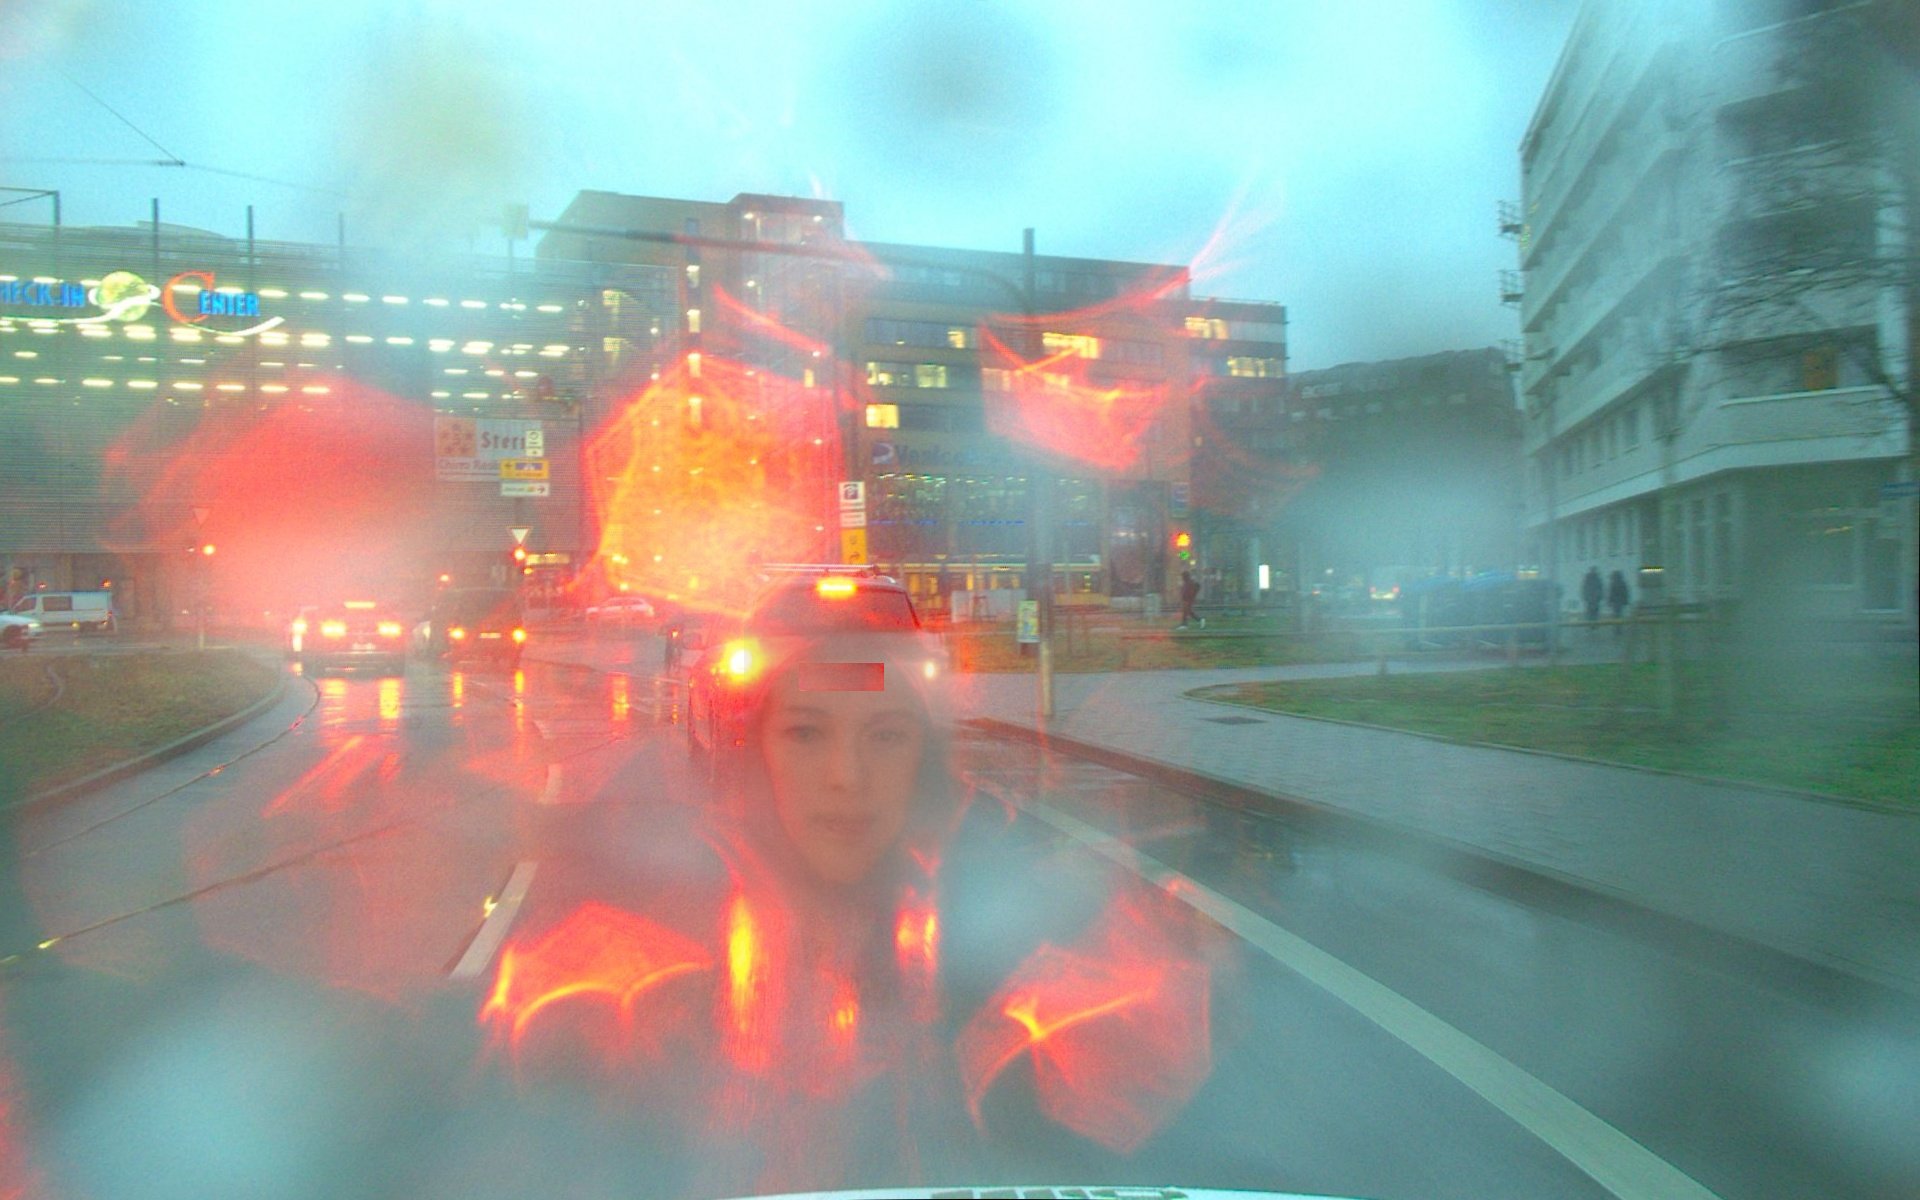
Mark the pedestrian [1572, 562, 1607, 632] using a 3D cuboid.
[{"bbox_3d":[15.815,-0.075,41.568,0.661,1.744,0.606,1,-1,8],"label":"pedestrian"}]

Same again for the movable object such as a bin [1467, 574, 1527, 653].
[{"bbox_3d":[10.651,0.267,32.801,1.013,1.516,1.040,1,-1,24],"label":"movable object such as a bin"}]

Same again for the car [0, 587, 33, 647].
[{"bbox_3d":[-34.649,0.536,57.311,4.308,2.049,1.980,2,-1,-30],"label":"car"}]

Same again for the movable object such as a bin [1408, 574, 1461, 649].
[{"bbox_3d":[9.844,0.223,34.363,1.006,1.521,1.330,-1,0,15],"label":"movable object such as a bin"}]

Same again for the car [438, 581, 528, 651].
[{"bbox_3d":[-12.249,0.412,42.324,1.616,1.727,3.639,0,-1,-26],"label":"car"}]

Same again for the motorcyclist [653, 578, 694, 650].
[{"bbox_3d":[-6.347,0.305,36.678,0.852,1.561,1.106,-1,0,-8],"label":"motorcyclist"}]

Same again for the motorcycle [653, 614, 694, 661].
[{"bbox_3d":[-6.347,0.812,36.708,0.837,0.989,1.578,-1,0,-8],"label":"motorcycle"}]

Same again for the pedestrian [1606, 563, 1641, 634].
[{"bbox_3d":[16.643,-0.027,41.483,0.661,1.744,0.630,1,-1,8],"label":"pedestrian"}]

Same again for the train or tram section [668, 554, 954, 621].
[{"bbox_3d":[-7.538,-0.759,87.835,16.484,3.317,2.306,-1,0,-38],"label":"train or tram section"}]

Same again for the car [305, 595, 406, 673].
[{"bbox_3d":[-13.494,0.730,36.823,1.731,1.601,3.967,-1,0,-26],"label":"car"}]

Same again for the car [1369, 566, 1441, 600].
[{"bbox_3d":[28.933,-1.087,107.489,4.894,2.049,1.974,2,-1,-37],"label":"car"}]

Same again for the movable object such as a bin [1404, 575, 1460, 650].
[{"bbox_3d":[9.416,0.237,33.038,0.992,1.440,1.225,-2,0,15],"label":"movable object such as a bin"}]

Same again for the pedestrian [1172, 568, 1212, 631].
[{"bbox_3d":[7.375,-0.010,52.644,1.146,1.958,0.898,1,-1,1],"label":"pedestrian"}]

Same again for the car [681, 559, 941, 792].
[{"bbox_3d":[-1.479,0.609,14.821,1.705,1.768,4.232,1,-1,-13],"label":"car"}]

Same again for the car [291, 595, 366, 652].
[{"bbox_3d":[-17.670,0.640,46.306,1.858,1.512,3.975,-1,0,-21],"label":"car"}]

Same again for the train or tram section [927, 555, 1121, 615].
[{"bbox_3d":[3.902,-0.906,96.661,12.863,3.317,2.306,-1,0,-38],"label":"train or tram section"}]

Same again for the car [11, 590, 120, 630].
[{"bbox_3d":[-47.564,0.537,88.058,5.019,1.996,1.874,2,-1,-28],"label":"car"}]
